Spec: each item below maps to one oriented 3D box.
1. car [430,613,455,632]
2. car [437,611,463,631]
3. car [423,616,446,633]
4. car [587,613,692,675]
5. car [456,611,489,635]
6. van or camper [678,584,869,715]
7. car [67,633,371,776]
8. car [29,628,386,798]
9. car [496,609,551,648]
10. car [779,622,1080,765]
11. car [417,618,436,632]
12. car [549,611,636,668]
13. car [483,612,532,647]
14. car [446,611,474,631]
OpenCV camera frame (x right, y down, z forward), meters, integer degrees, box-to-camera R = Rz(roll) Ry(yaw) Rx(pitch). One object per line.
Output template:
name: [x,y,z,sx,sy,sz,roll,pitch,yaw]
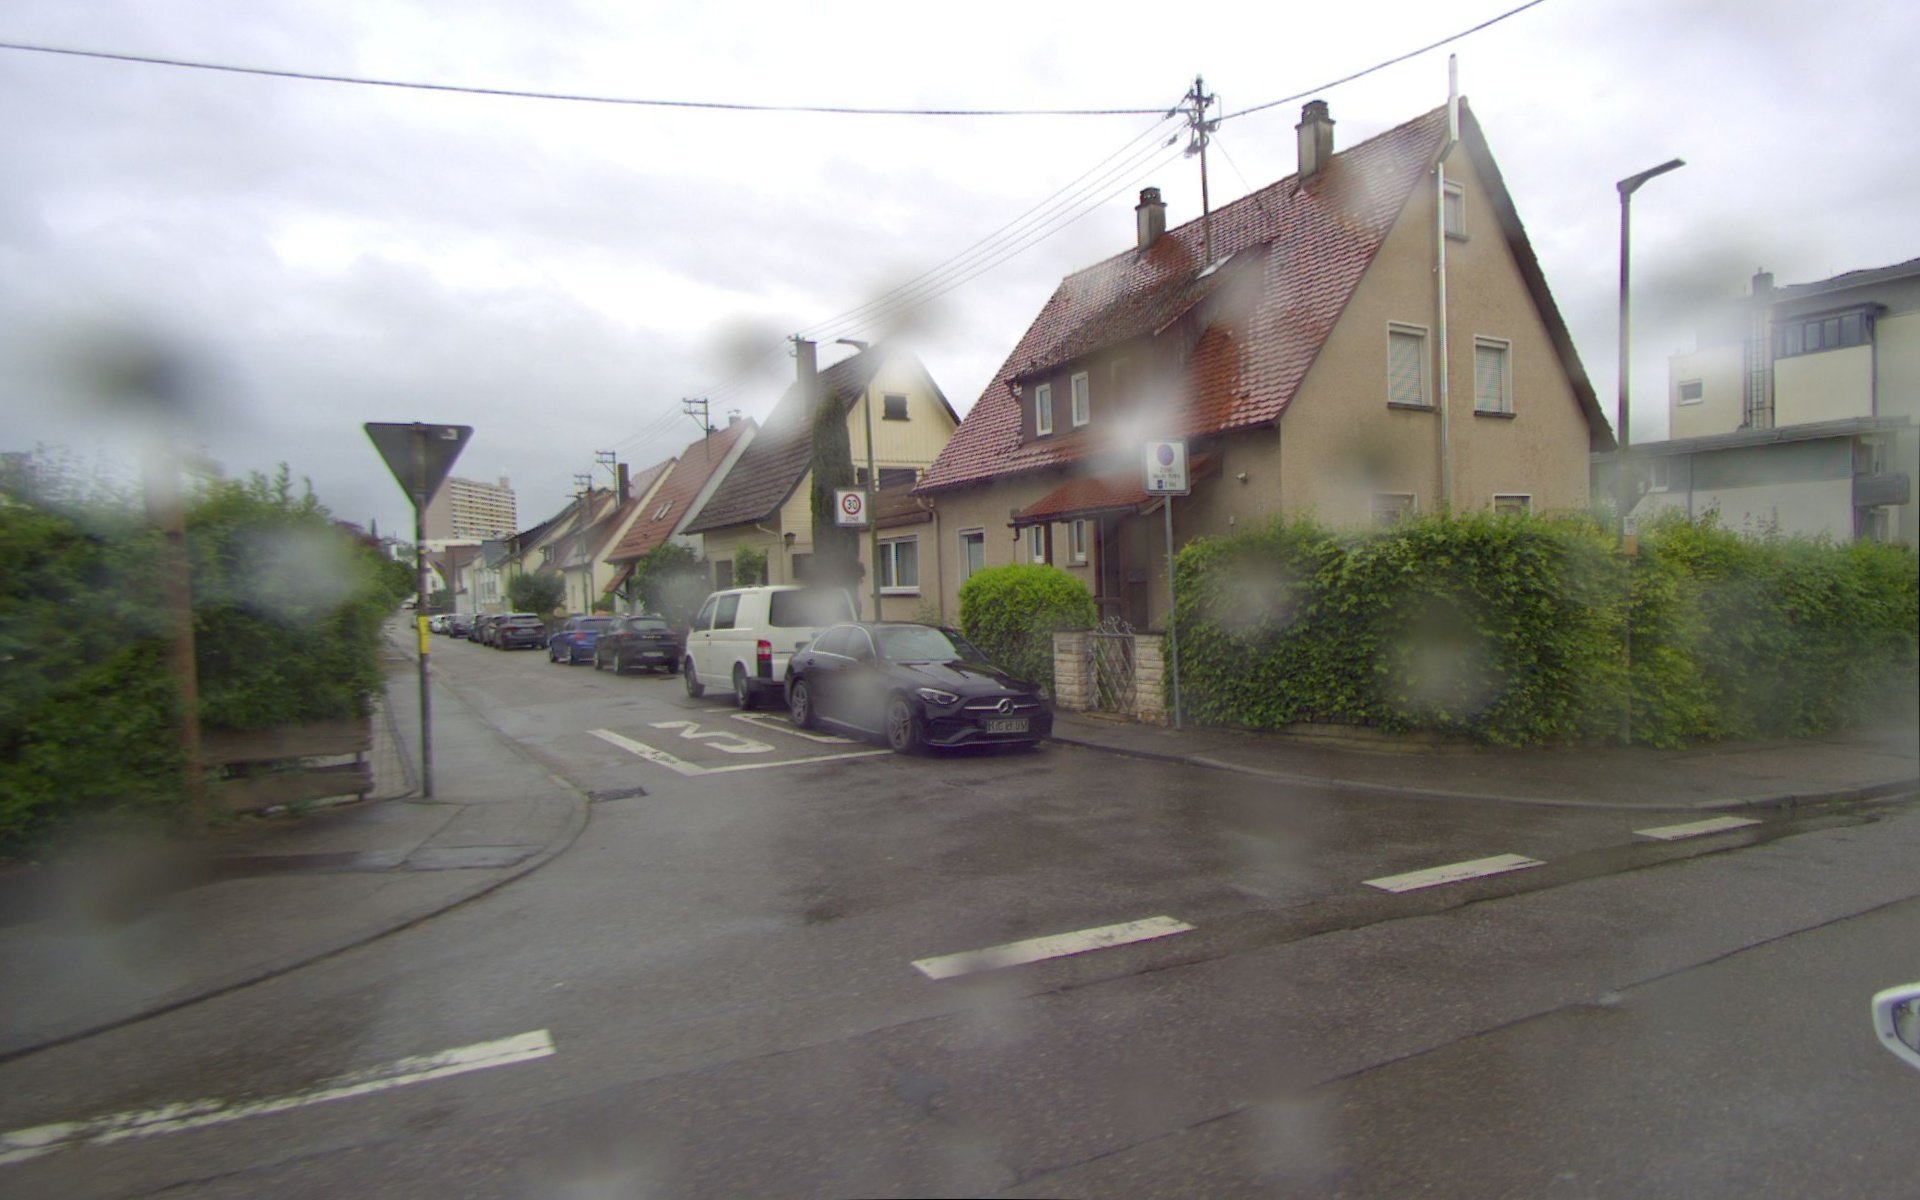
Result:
car: [-44.135,1.948,85.606,1.728,1.497,4.056,0,-2,-30]
car: [-40.835,1.697,80.409,1.728,1.497,4.056,0,-2,-30]
car: [-48.873,2.245,93.394,1.728,1.497,4.073,0,-2,-30]
car: [-8.529,1.096,26.530,1.872,1.515,4.055,0,-1,-30]
car: [-32.237,1.548,66.377,1.728,1.497,4.056,0,-2,-30]
van or camper: [-3.377,0.771,17.460,1.912,1.956,4.528,0,-1,-30]
car: [-11.103,1.493,15.336,3.409,1.457,1.633,-9,3,-34]
car: [-9.662,1.366,13.230,3.409,1.476,1.708,-9,3,-34]
car: [-19.021,1.257,43.707,1.799,1.640,4.056,0,-2,-30]
car: [-0.609,0.993,12.561,1.872,1.417,4.561,0,-1,-30]
car: [-59.287,2.745,111.564,1.728,1.497,4.056,0,-2,-30]
car: [-11.334,1.169,30.828,1.872,1.630,4.055,0,-1,-30]
car: [-21.822,1.427,48.330,1.799,1.619,4.056,0,-2,-30]
car: [-38.096,1.616,76.482,1.728,1.497,4.056,0,-2,-30]
